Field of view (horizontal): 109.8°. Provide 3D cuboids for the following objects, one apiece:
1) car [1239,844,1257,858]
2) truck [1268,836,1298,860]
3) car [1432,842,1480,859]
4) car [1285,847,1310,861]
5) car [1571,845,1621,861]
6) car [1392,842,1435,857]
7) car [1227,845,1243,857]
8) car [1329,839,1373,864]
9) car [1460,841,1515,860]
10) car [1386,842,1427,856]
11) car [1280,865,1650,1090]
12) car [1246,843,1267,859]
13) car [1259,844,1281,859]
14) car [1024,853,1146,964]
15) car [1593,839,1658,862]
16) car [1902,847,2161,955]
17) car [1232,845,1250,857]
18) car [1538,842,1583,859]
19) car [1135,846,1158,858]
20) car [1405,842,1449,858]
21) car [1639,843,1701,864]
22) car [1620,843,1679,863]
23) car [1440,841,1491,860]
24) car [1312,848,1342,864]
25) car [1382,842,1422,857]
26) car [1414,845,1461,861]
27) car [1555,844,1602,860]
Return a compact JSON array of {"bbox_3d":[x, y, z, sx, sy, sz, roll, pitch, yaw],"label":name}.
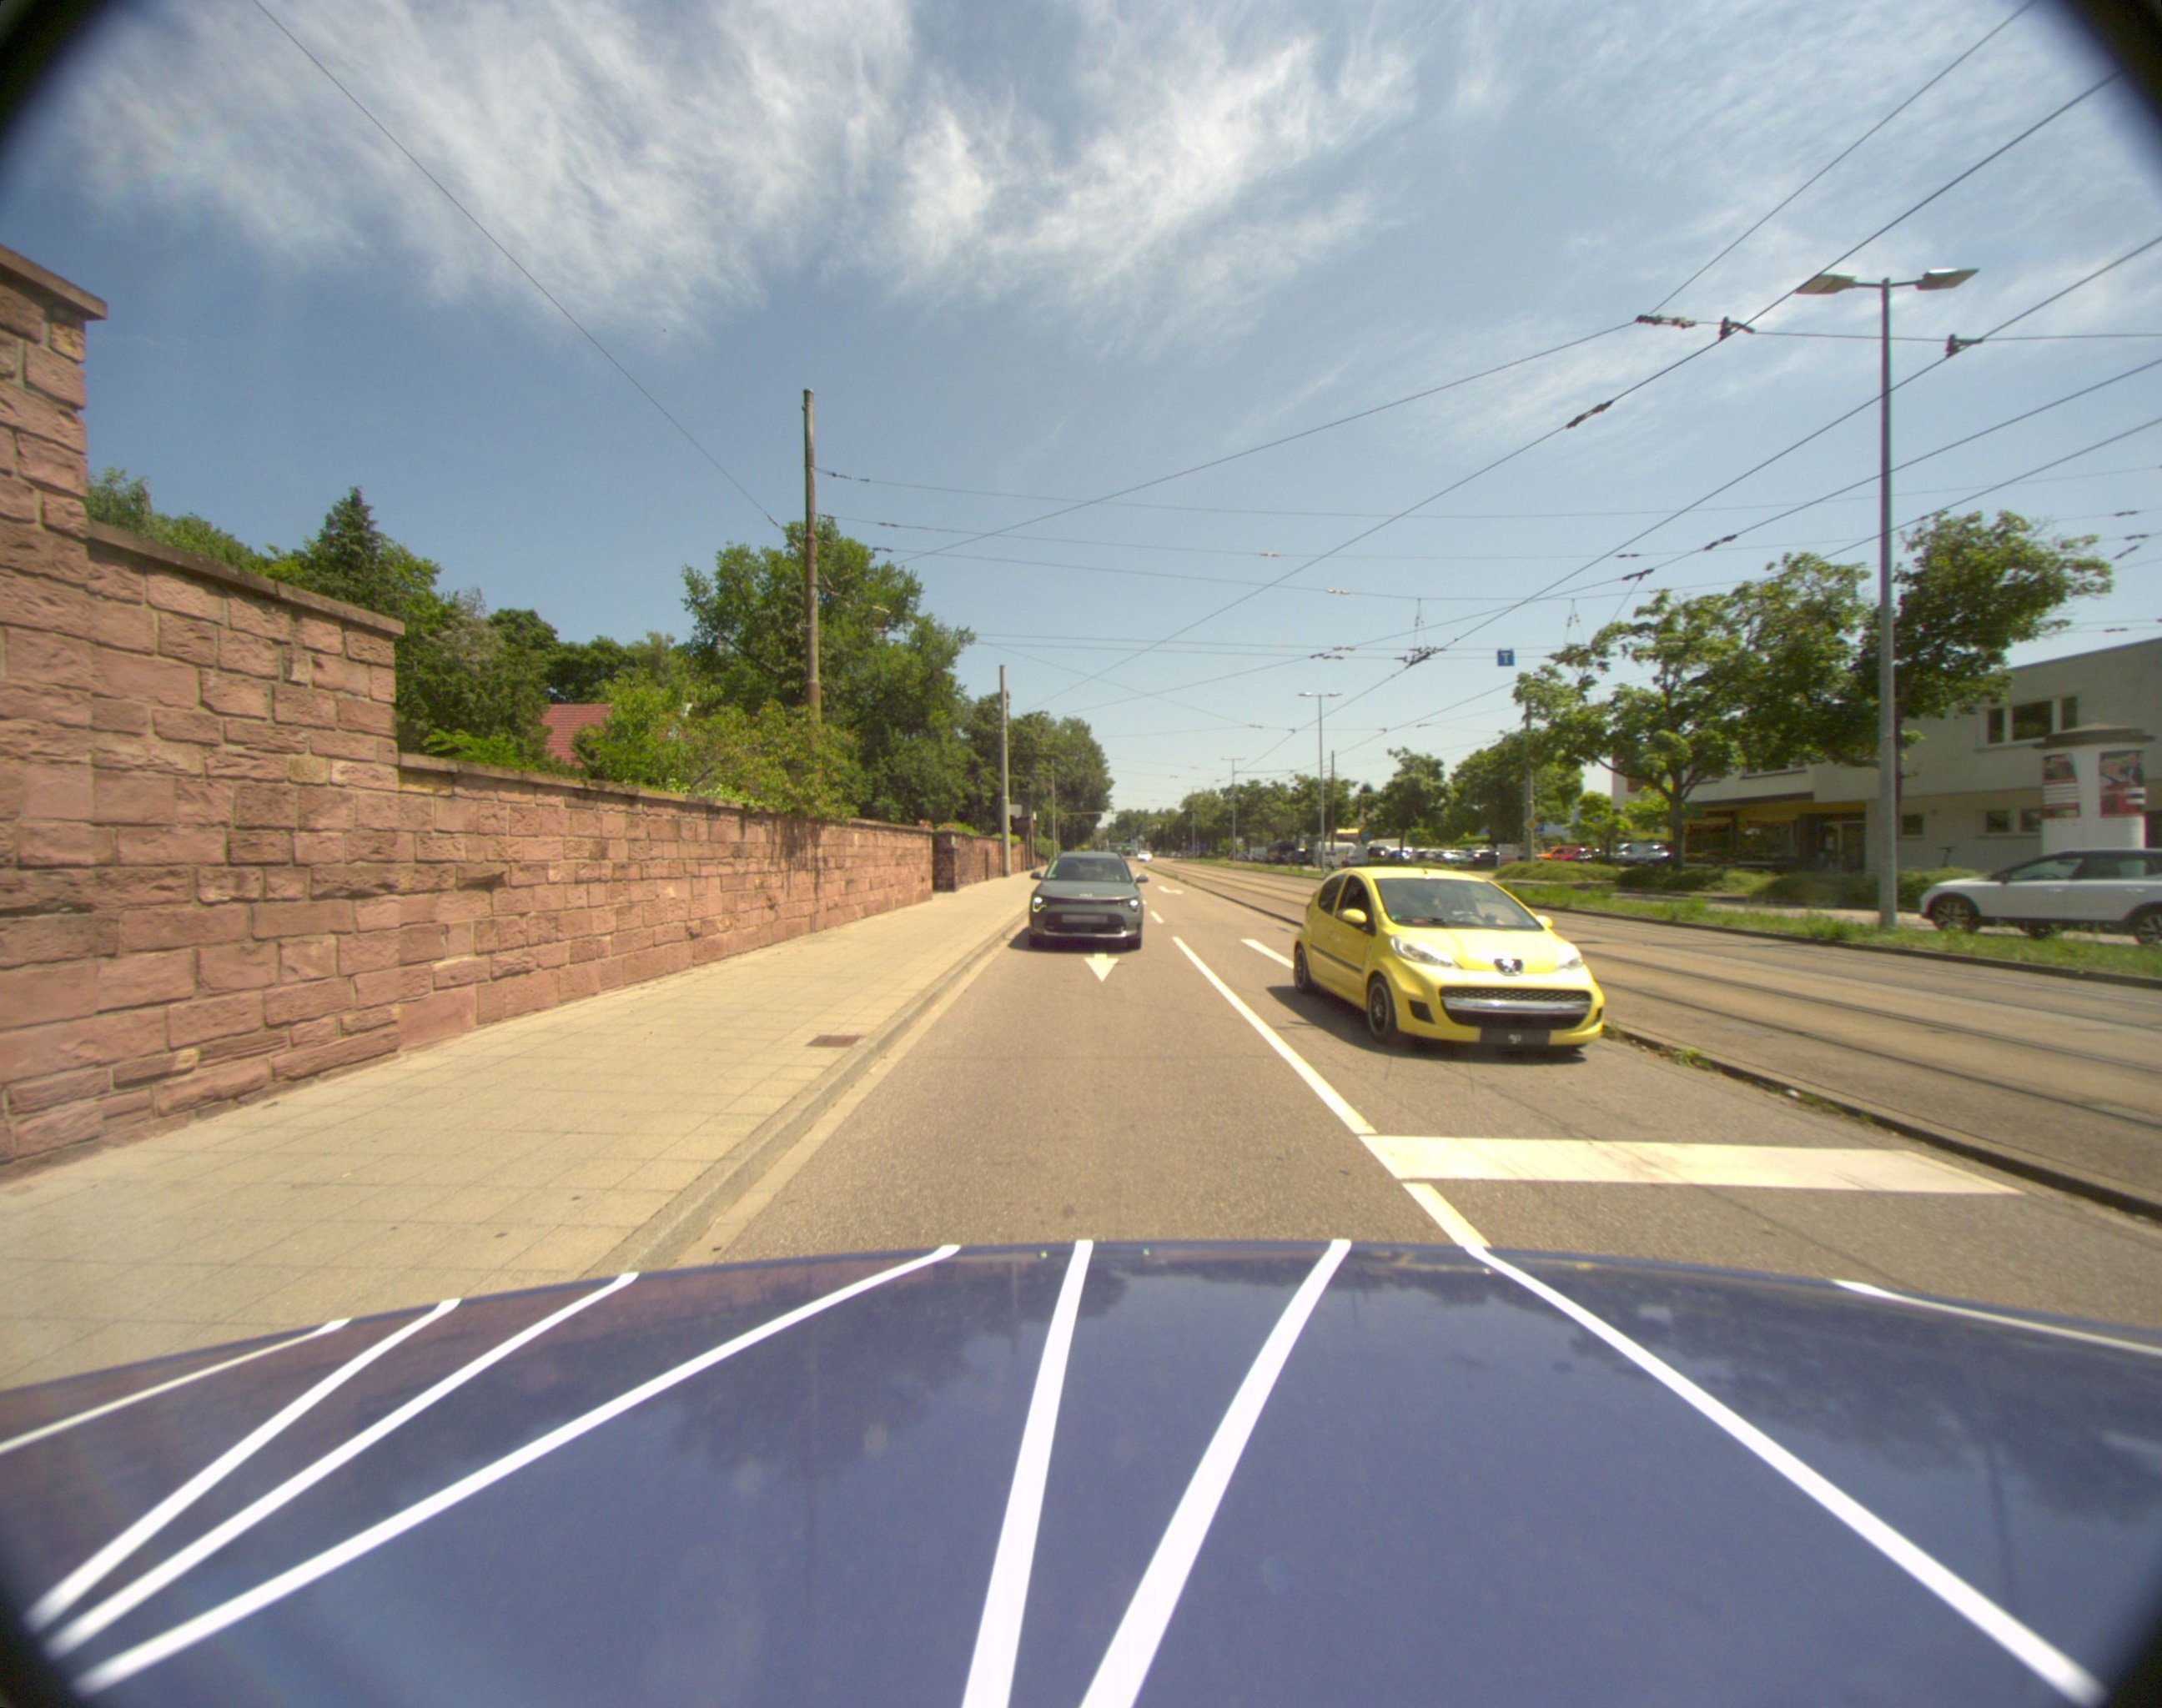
[{"bbox_3d":[22.582,-0.391,102.886,1.681,1.783,4.202,0,1,1],"label":"car"},{"bbox_3d":[22.145,-0.650,83.480,2.225,2.527,4.929,0,1,2],"label":"truck"},{"bbox_3d":[32.177,-0.289,65.247,3.414,1.386,1.603,-1,1,-3],"label":"car"},{"bbox_3d":[22.029,0.001,77.274,1.674,1.379,3.670,0,1,3],"label":"car"},{"bbox_3d":[45.342,-0.108,66.910,3.355,1.381,1.506,0,1,-1],"label":"car"},{"bbox_3d":[31.952,-0.429,73.021,3.414,1.386,1.603,-1,1,-3],"label":"car"},{"bbox_3d":[23.208,-0.446,114.478,1.681,1.693,3.823,0,1,1],"label":"car"},{"bbox_3d":[21.560,-0.214,60.935,1.998,1.872,4.662,0,1,2],"label":"car"},{"bbox_3d":[32.282,-0.284,60.411,3.414,1.482,1.793,-1,1,-3],"label":"car"},{"bbox_3d":[32.542,-0.470,75.904,3.414,1.386,1.603,-1,1,-3],"label":"car"},{"bbox_3d":[3.163,0.895,7.149,1.620,1.413,3.655,2,1,1],"label":"car"},{"bbox_3d":[22.472,-0.402,97.283,1.681,1.963,4.509,0,1,1],"label":"car"},{"bbox_3d":[22.803,-0.357,91.858,1.681,1.783,3.868,0,1,1],"label":"car"},{"bbox_3d":[0.129,0.813,13.400,1.789,1.561,4.184,1,1,2],"label":"car"},{"bbox_3d":[44.473,-0.302,62.121,3.997,1.774,1.813,0,1,-1],"label":"car"},{"bbox_3d":[16.336,0.686,12.069,1.999,1.544,4.138,2,1,-2],"label":"car"},{"bbox_3d":[22.640,-0.431,107.734,1.681,1.783,4.203,0,0,1],"label":"car"},{"bbox_3d":[45.646,-0.350,72.409,3.355,1.552,1.506,0,1,-1],"label":"car"},{"bbox_3d":[9.562,-0.259,110.338,1.995,1.652,4.007,0,1,27],"label":"car"},{"bbox_3d":[32.154,-0.384,70.609,3.414,1.386,1.603,-1,1,-3],"label":"car"},{"bbox_3d":[44.690,-0.039,57.677,3.492,1.528,1.624,0,1,-1],"label":"car"},{"bbox_3d":[44.687,-0.094,59.793,3.492,1.528,1.534,0,1,-1],"label":"car"},{"bbox_3d":[31.713,-0.302,62.715,3.414,1.482,1.598,-1,1,-3],"label":"car"},{"bbox_3d":[21.749,0.130,67.213,1.674,1.379,3.569,0,1,3],"label":"car"},{"bbox_3d":[33.181,-0.507,78.555,3.414,1.497,1.603,-1,1,-3],"label":"car"},{"bbox_3d":[31.661,-0.117,67.523,3.414,1.386,1.603,-1,1,-3],"label":"car"},{"bbox_3d":[45.777,-0.199,69.977,3.355,1.450,1.506,0,1,-1],"label":"car"}]
